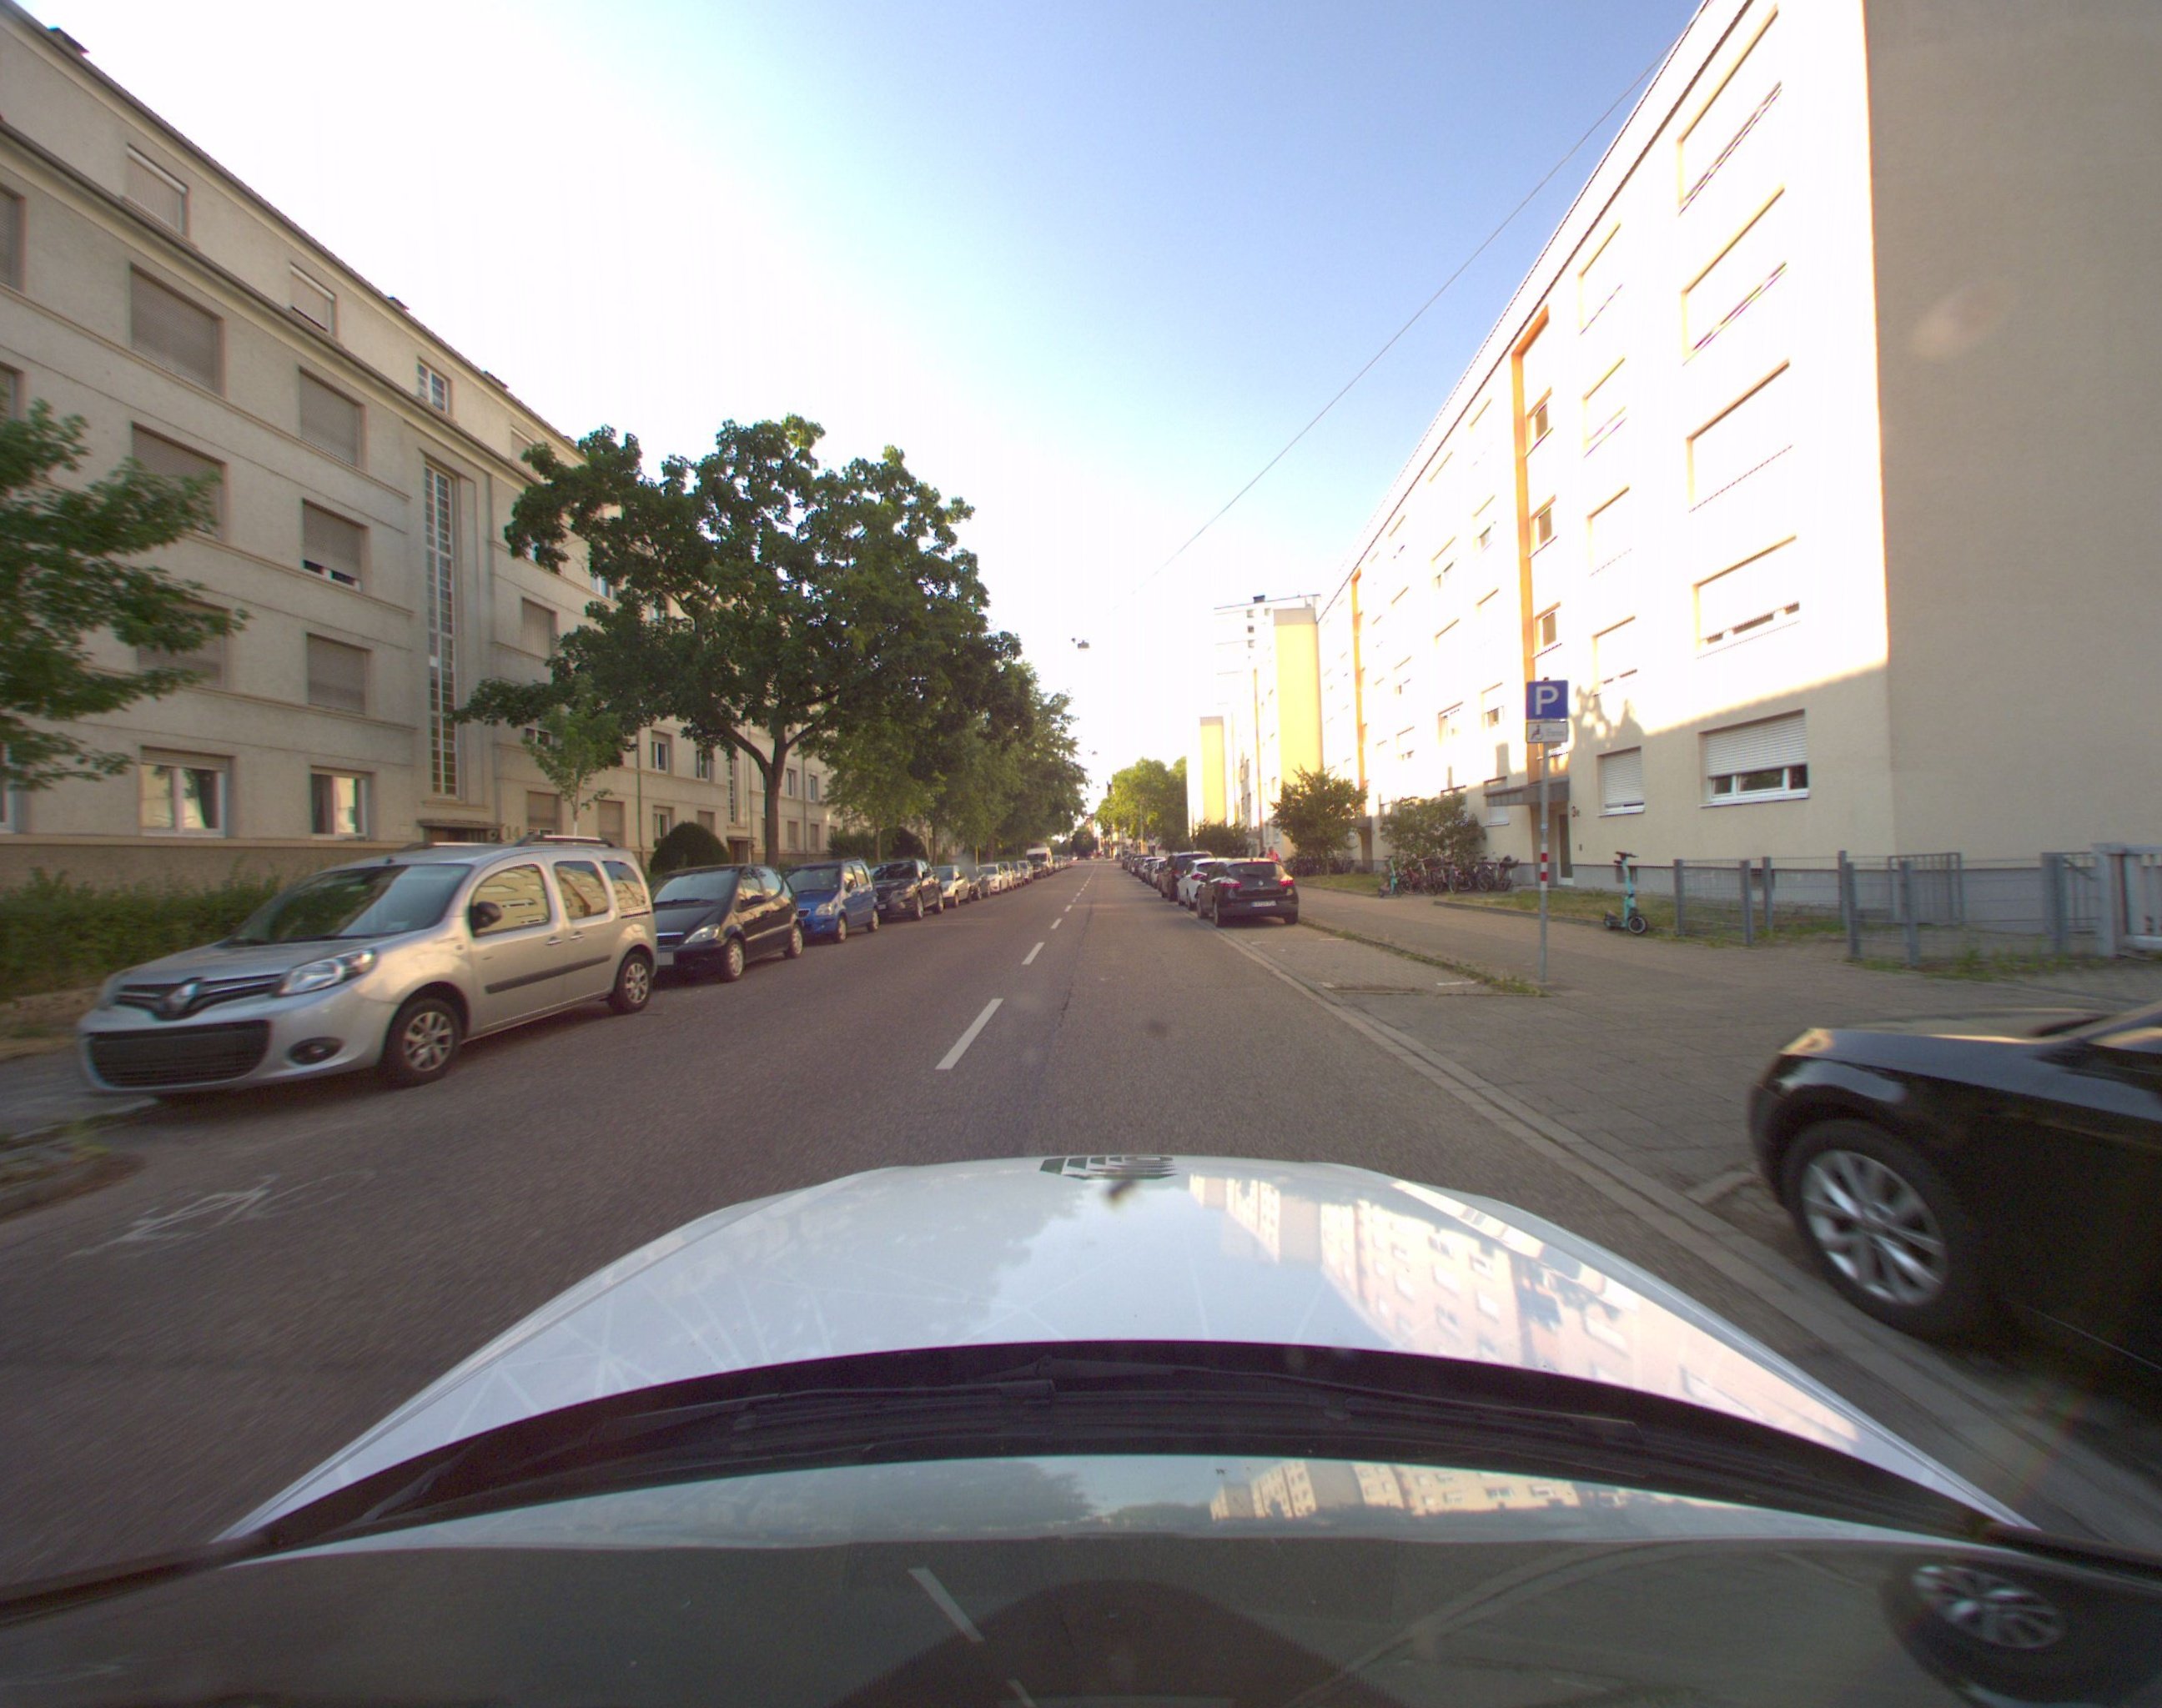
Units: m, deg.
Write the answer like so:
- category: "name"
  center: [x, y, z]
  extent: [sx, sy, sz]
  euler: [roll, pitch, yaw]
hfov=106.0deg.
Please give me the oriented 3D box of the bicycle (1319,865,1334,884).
- category: "bicycle"
  center: [12.649, 1.046, 42.006]
  extent: [0.435, 0.942, 1.794]
  euler: [0, -1, 7]

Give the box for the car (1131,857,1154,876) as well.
- category: "car"
  center: [5.154, 1.077, 68.986]
  extent: [1.830, 1.501, 4.175]
  euler: [0, -1, 3]

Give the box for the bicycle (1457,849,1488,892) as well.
- category: "bicycle"
  center: [11.264, 0.482, 23.454]
  extent: [0.332, 1.192, 1.241]
  euler: [0, -1, 2]

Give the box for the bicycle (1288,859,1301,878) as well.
- category: "bicycle"
  center: [11.064, 0.753, 42.221]
  extent: [0.435, 0.942, 1.794]
  euler: [0, -1, 7]

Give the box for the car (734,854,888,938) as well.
- category: "car"
  center: [-5.501, 0.822, 17.166]
  extent: [1.867, 1.552, 3.999]
  euler: [0, -1, 0]

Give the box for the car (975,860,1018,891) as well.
- category: "car"
  center: [-4.533, 1.160, 44.274]
  extent: [1.867, 1.552, 3.999]
  euler: [0, -1, 0]

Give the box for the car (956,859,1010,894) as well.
- category: "car"
  center: [-4.604, 1.062, 38.847]
  extent: [1.998, 1.552, 4.470]
  euler: [0, -1, 0]

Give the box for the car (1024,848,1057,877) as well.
- category: "car"
  center: [-3.493, 0.790, 71.108]
  extent: [2.349, 2.446, 6.167]
  euler: [0, -1, 2]

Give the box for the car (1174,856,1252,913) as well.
- category: "car"
  center: [3.917, 0.887, 24.734]
  extent: [1.765, 1.508, 4.001]
  euler: [-2, -1, 2]

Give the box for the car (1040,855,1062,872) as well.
- category: "car"
  center: [-3.190, 0.944, 87.109]
  extent: [1.864, 1.558, 5.058]
  euler: [-6, 0, 1]

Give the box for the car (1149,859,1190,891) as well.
- category: "car"
  center: [4.526, 1.069, 42.163]
  extent: [1.765, 1.454, 4.001]
  euler: [-4, -1, 2]

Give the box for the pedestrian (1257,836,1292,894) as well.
- category: "pedestrian"
  center: [6.461, 0.372, 27.213]
  extent: [0.885, 1.891, 1.279]
  euler: [0, -1, 2]

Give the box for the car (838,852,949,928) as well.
- category: "car"
  center: [-4.967, 0.921, 22.289]
  extent: [1.867, 1.759, 4.688]
  euler: [-3, -1, 0]

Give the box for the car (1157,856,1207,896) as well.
- category: "car"
  center: [4.331, 0.934, 35.446]
  extent: [1.765, 1.617, 4.001]
  euler: [0, -1, 2]

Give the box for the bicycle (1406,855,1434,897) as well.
- category: "bicycle"
  center: [9.769, 0.627, 23.483]
  extent: [0.332, 1.192, 1.241]
  euler: [0, -1, 2]

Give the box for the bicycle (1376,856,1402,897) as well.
- category: "bicycle"
  center: [9.074, 0.660, 23.995]
  extent: [0.332, 1.192, 1.241]
  euler: [0, -1, 2]

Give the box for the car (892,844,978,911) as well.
- category: "car"
  center: [-4.943, 0.787, 28.143]
  extent: [1.986, 2.014, 4.001]
  euler: [-4, -1, 2]

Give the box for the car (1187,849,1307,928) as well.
- category: "car"
  center: [3.771, 0.774, 19.302]
  extent: [1.793, 1.507, 4.620]
  euler: [-4, -1, 0]

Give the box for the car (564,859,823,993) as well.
- category: "car"
  center: [-5.455, 0.933, 12.138]
  extent: [1.867, 1.552, 3.999]
  euler: [-4, -1, 0]

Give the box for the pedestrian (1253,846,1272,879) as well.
- category: "pedestrian"
  center: [9.401, 0.465, 42.262]
  extent: [0.763, 1.658, 0.536]
  euler: [-3, -2, 1]

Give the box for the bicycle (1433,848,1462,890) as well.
- category: "bicycle"
  center: [10.583, 0.431, 23.554]
  extent: [0.332, 1.192, 1.241]
  euler: [0, -1, 2]

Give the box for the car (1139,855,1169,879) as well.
- category: "car"
  center: [5.250, 0.969, 59.110]
  extent: [1.955, 1.605, 4.280]
  euler: [-1, -1, 2]

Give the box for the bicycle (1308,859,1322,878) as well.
- category: "bicycle"
  center: [12.084, 0.758, 42.090]
  extent: [0.435, 0.942, 1.794]
  euler: [0, -1, 7]

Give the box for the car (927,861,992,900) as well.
- category: "car"
  center: [-4.787, 1.052, 32.819]
  extent: [1.867, 1.434, 4.802]
  euler: [0, -1, 0]

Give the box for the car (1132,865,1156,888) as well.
- category: "car"
  center: [4.963, 1.748, 64.324]
  extent: [1.829, 1.772, 3.982]
  euler: [0, -1, 3]

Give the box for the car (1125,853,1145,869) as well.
- category: "car"
  center: [6.062, 0.809, 91.585]
  extent: [1.891, 1.651, 4.343]
  euler: [-4, 0, 1]

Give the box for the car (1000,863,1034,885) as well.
- category: "car"
  center: [-4.187, 1.320, 53.824]
  extent: [1.867, 1.355, 4.652]
  euler: [0, -1, 0]

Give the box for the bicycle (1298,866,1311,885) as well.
- category: "bicycle"
  center: [11.560, 1.106, 42.130]
  extent: [0.435, 0.942, 1.794]
  euler: [0, -1, 7]

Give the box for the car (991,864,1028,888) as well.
- category: "car"
  center: [-4.266, 1.327, 48.921]
  extent: [1.867, 1.355, 3.999]
  euler: [0, -1, 0]

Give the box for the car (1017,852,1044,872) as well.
- category: "car"
  center: [-3.937, 0.652, 64.000]
  extent: [1.701, 1.574, 3.820]
  euler: [0, -1, 2]

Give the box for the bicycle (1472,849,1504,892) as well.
- category: "bicycle"
  center: [11.664, 0.474, 23.356]
  extent: [0.332, 1.192, 1.241]
  euler: [0, -1, 2]

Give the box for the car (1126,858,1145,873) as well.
- category: "car"
  center: [5.320, 1.163, 79.999]
  extent: [1.673, 1.415, 4.725]
  euler: [0, -1, 1]

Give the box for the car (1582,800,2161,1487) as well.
- category: "car"
  center: [3.361, 0.604, 1.399]
  extent: [1.880, 1.561, 4.945]
  euler: [-3, -1, 0]

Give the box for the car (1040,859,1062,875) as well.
- category: "car"
  center: [-2.952, 1.312, 80.673]
  extent: [1.864, 1.558, 4.366]
  euler: [0, -1, 1]

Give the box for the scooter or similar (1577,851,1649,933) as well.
- category: "scooter or similar"
  center: [8.207, 0.572, 12.595]
  extent: [0.332, 1.192, 1.241]
  euler: [0, -1, 2]

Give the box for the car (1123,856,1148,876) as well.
- category: "car"
  center: [4.927, 1.065, 74.191]
  extent: [2.017, 1.750, 4.767]
  euler: [0, -1, 1]

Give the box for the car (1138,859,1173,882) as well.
- category: "car"
  center: [4.750, 1.052, 52.420]
  extent: [1.867, 1.443, 3.999]
  euler: [0, -1, 0]

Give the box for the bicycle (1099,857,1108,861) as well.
- category: "bicycle"
  center: [6.516, 1.461, 236.102]
  extent: [2.799, 1.204, 0.509]
  euler: [1, -1, -6]

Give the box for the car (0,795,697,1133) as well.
- category: "car"
  center: [-5.492, 0.708, 7.131]
  extent: [1.834, 1.896, 4.490]
  euler: [-4, -1, 3]

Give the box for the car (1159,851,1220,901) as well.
- category: "car"
  center: [3.939, 0.796, 30.215]
  extent: [1.765, 1.678, 4.648]
  euler: [0, -1, 2]
